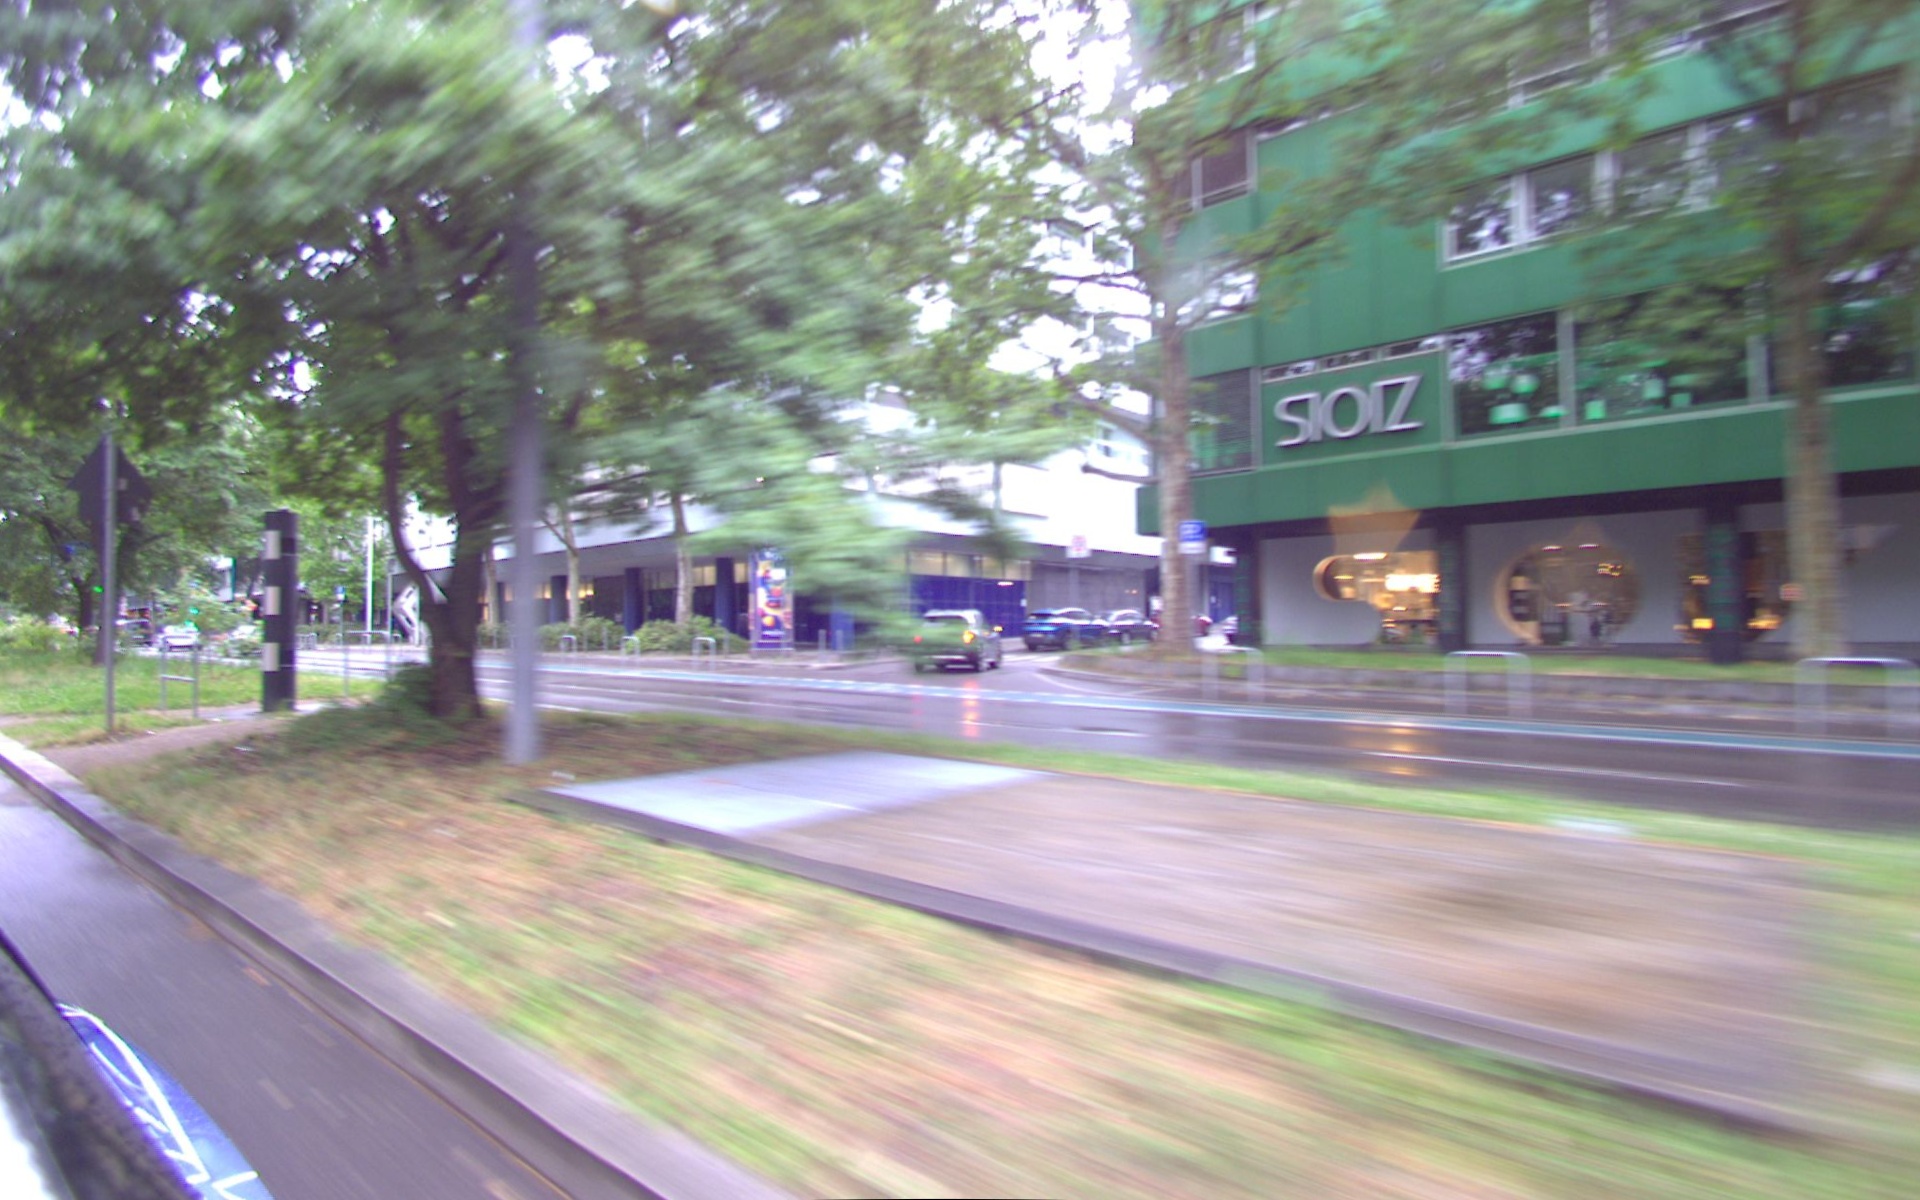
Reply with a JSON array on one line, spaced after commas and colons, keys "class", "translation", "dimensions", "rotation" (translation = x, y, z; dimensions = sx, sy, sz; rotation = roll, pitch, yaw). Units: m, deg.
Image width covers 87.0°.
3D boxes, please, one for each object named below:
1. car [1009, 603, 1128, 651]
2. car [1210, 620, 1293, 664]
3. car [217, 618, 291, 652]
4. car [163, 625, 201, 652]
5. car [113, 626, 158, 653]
[{"class": "car", "translation": [4.306, 1.017, 39.592], "dimensions": [2.001, 1.705, 4.932], "rotation": [-1, 0, 44]}, {"class": "car", "translation": [12.190, 1.699, 42.195], "dimensions": [1.997, 1.697, 3.949], "rotation": [-2, -1, 38]}, {"class": "car", "translation": [-32.433, 1.622, 46.435], "dimensions": [4.758, 1.503, 1.971], "rotation": [-3, -3, 45]}, {"class": "car", "translation": [-43.992, 2.196, 57.209], "dimensions": [3.561, 1.474, 1.148], "rotation": [-2, -3, 44]}, {"class": "car", "translation": [-56.823, 2.728, 69.716], "dimensions": [1.970, 1.815, 4.284], "rotation": [2, -3, -44]}]
